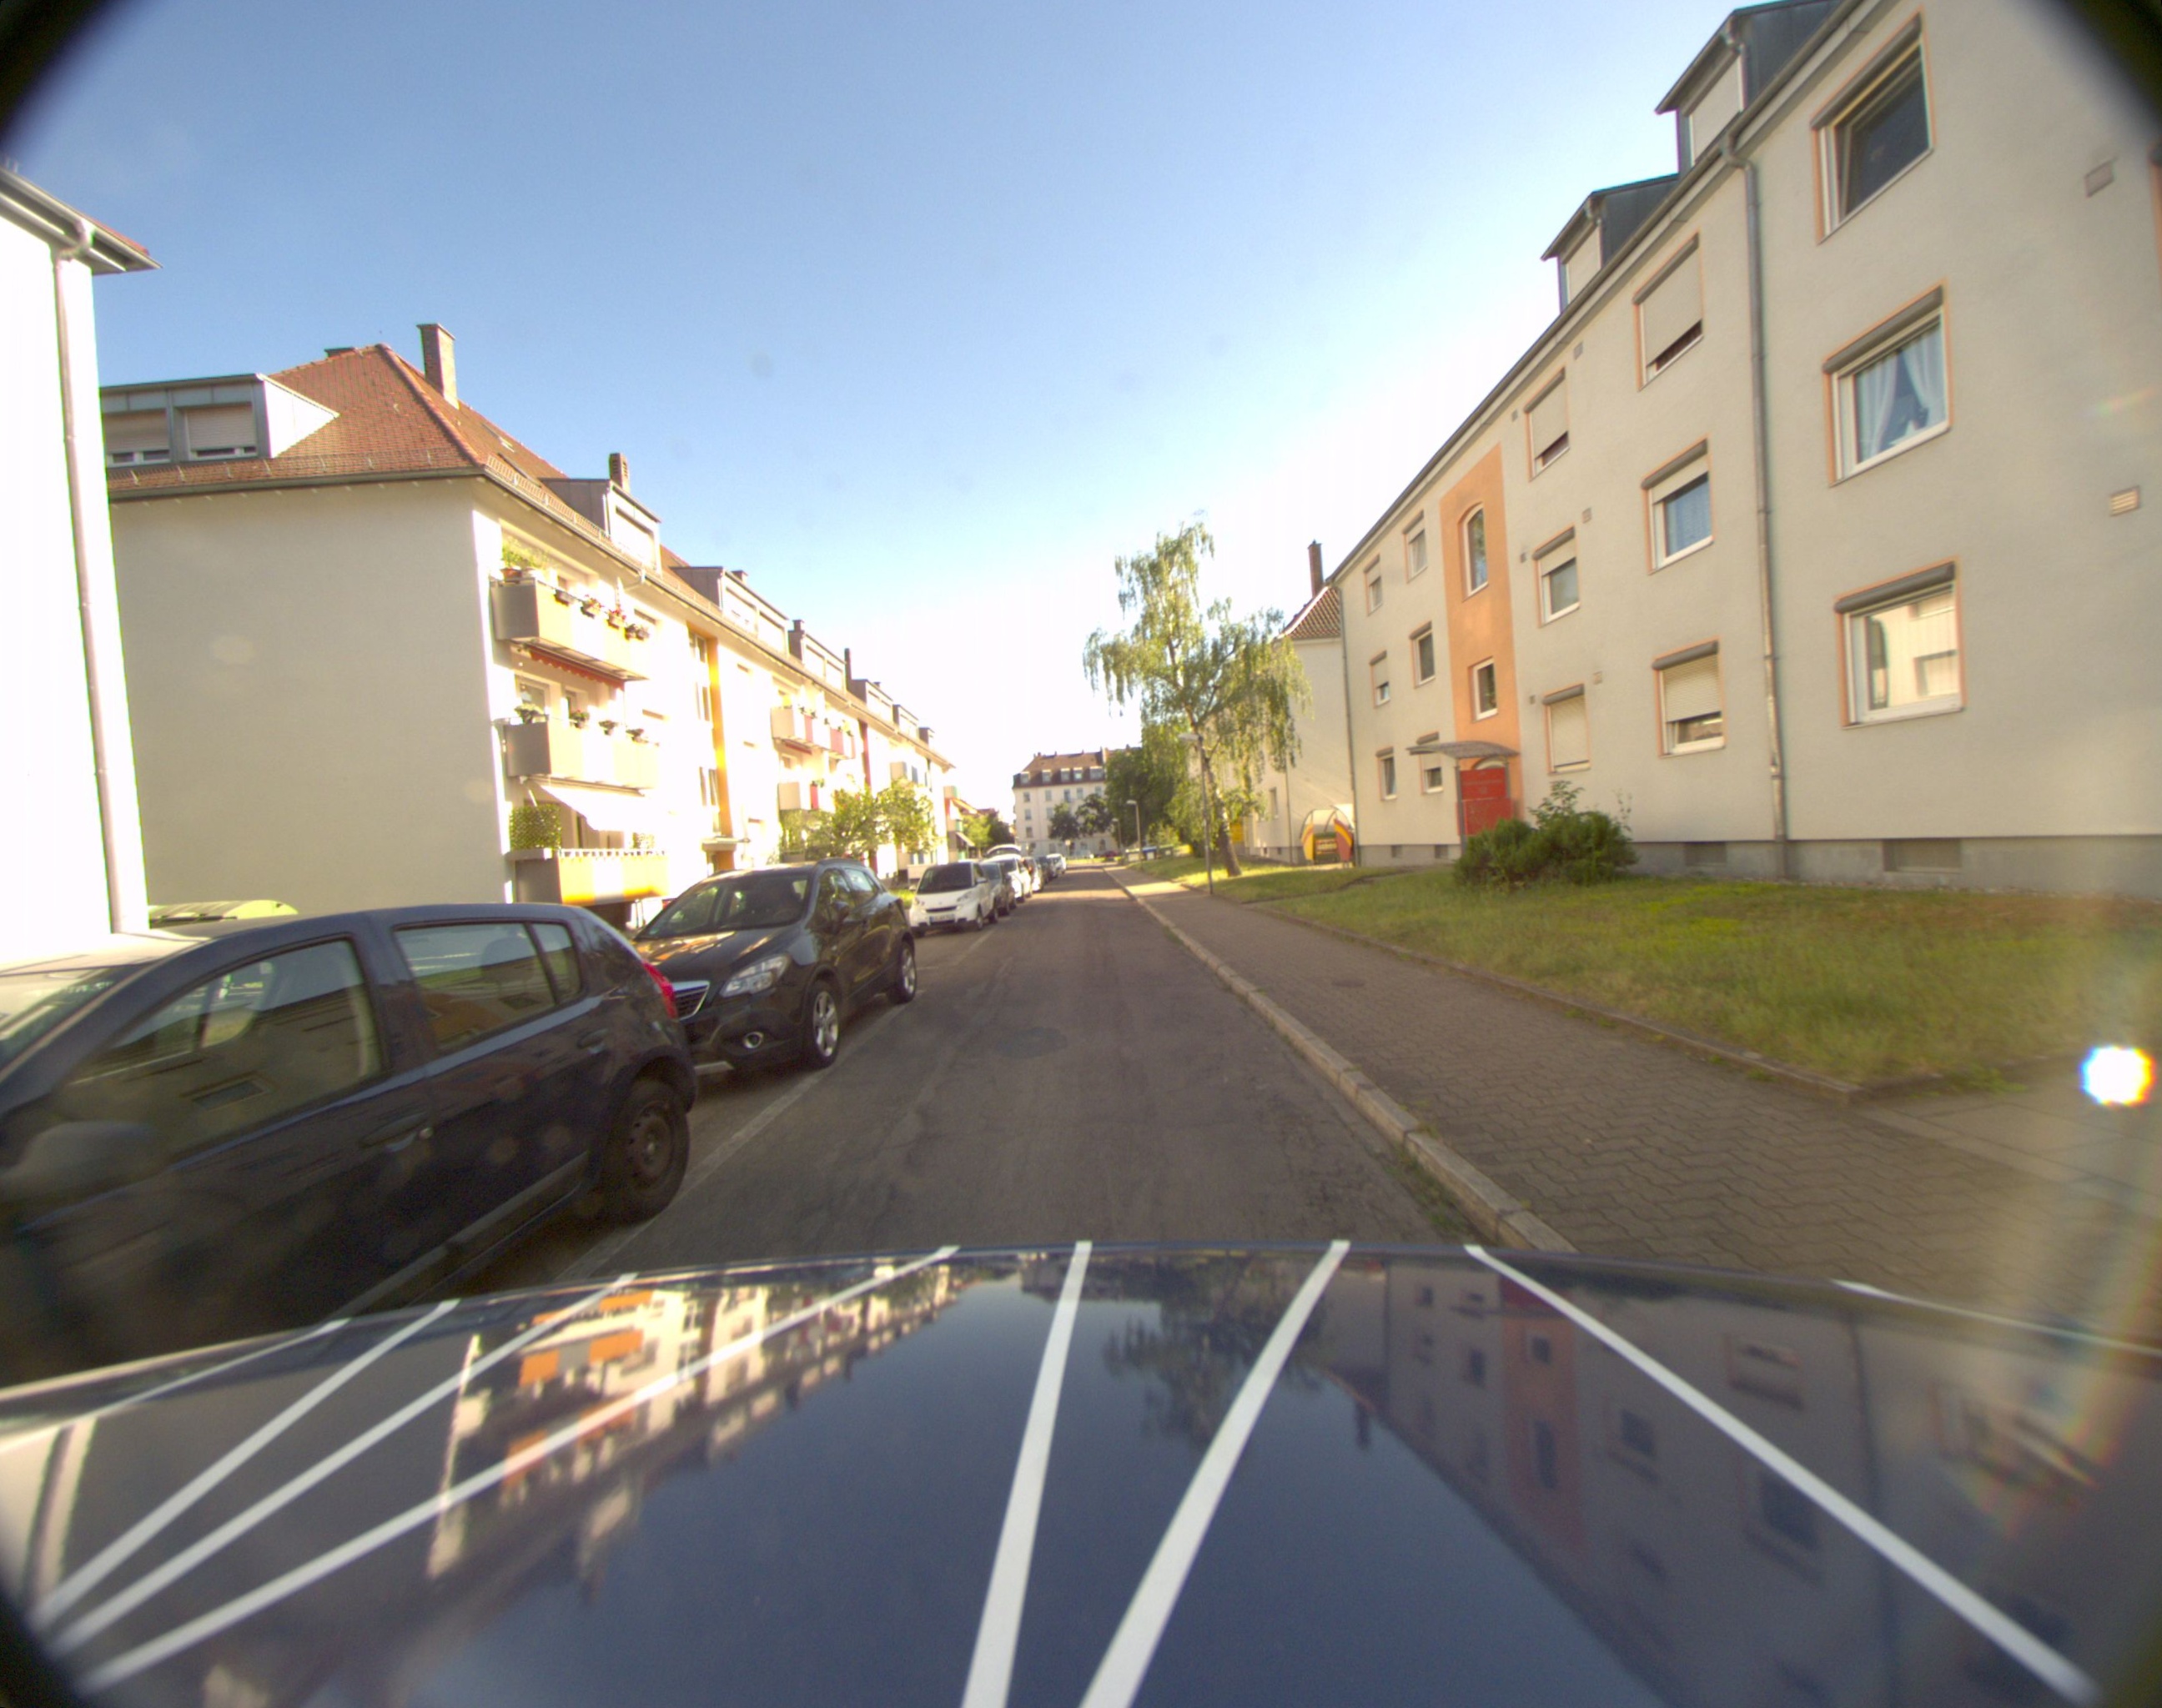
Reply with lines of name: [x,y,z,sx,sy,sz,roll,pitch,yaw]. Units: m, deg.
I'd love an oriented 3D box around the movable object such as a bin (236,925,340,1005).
movable object such as a bin: [-11.842,1.638,11.373,0.644,1.029,0.757,-3,3,1]

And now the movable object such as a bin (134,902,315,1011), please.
movable object such as a bin: [-12.849,1.509,11.460,1.331,1.399,1.106,-3,3,1]

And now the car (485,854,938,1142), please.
car: [-2.801,0.935,7.117,1.787,1.638,4.468,-6,1,2]

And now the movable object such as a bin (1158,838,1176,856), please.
movable object such as a bin: [7.894,-0.660,69.802,1.363,1.445,1.072,-9,1,1]

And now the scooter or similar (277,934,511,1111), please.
scooter or similar: [-5.731,1.346,6.473,0.485,1.142,1.589,-1,1,1]

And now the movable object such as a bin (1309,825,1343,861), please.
movable object such as a bin: [10.257,-0.469,31.823,1.087,1.398,0.812,-5,1,1]

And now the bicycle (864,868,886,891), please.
bicycle: [-10.644,1.305,39.343,0.521,1.031,1.975,-3,1,1]

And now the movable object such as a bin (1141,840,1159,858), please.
movable object such as a bin: [6.360,-0.480,69.790,1.358,1.451,1.082,-9,1,1]

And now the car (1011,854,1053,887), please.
car: [-2.576,0.849,41.112,1.650,1.441,4.061,-6,1,3]

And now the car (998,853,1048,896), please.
car: [-2.443,0.826,32.891,1.777,1.496,4.479,-5,1,-1]

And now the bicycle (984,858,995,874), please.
bicycle: [-6.788,0.856,56.589,0.579,1.126,1.872,-3,1,0]

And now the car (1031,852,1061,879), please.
car: [-2.318,0.766,51.062,1.717,1.501,3.853,-7,1,0]

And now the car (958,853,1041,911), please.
car: [-2.746,0.888,26.890,1.998,1.603,4.995,-6,1,3]

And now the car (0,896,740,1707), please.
car: [-2.773,1.054,2.021,1.645,1.490,4.156,-4,1,2]

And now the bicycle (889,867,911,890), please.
bicycle: [-9.327,1.258,39.200,0.521,1.043,2.288,-2,1,1]

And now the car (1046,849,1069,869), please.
car: [-2.091,0.429,68.437,1.805,1.583,4.580,-6,1,0]

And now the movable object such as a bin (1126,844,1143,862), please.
movable object such as a bin: [4.903,-0.106,69.741,1.318,1.451,1.198,-8,1,1]

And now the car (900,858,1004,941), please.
car: [-2.839,0.955,17.296,1.483,1.520,2.941,-7,1,5]

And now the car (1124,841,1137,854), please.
car: [6.711,-0.861,102.763,1.678,1.645,3.305,-4,1,5]

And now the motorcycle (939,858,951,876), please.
motorcycle: [-10.186,0.947,56.860,0.442,1.231,1.976,-3,1,1]

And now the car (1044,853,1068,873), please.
car: [-2.045,0.726,63.130,1.695,1.410,4.097,-7,1,0]

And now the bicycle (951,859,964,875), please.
bicycle: [-9.187,0.942,56.674,0.598,1.109,1.872,-4,1,0]

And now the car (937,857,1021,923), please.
car: [-2.785,0.941,21.567,1.698,1.482,3.983,-6,1,0]

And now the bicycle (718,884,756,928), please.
bicycle: [-9.887,1.484,21.881,0.404,1.126,1.273,-4,1,1]

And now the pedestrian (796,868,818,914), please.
pedestrian: [-8.977,1.209,24.908,0.451,1.487,0.360,-4,3,1]

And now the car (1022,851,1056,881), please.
car: [-2.459,0.672,45.758,1.728,1.569,4.352,-4,1,0]

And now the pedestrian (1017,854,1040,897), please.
pedestrian: [-1.981,0.809,28.796,0.741,1.566,0.879,-3,1,0]

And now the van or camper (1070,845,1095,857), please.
van or camper: [0.218,-0.518,135.364,4.355,1.852,1.999,-4,1,-1]

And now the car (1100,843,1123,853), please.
car: [5.364,-1.118,135.029,3.996,1.477,1.722,-4,1,2]
